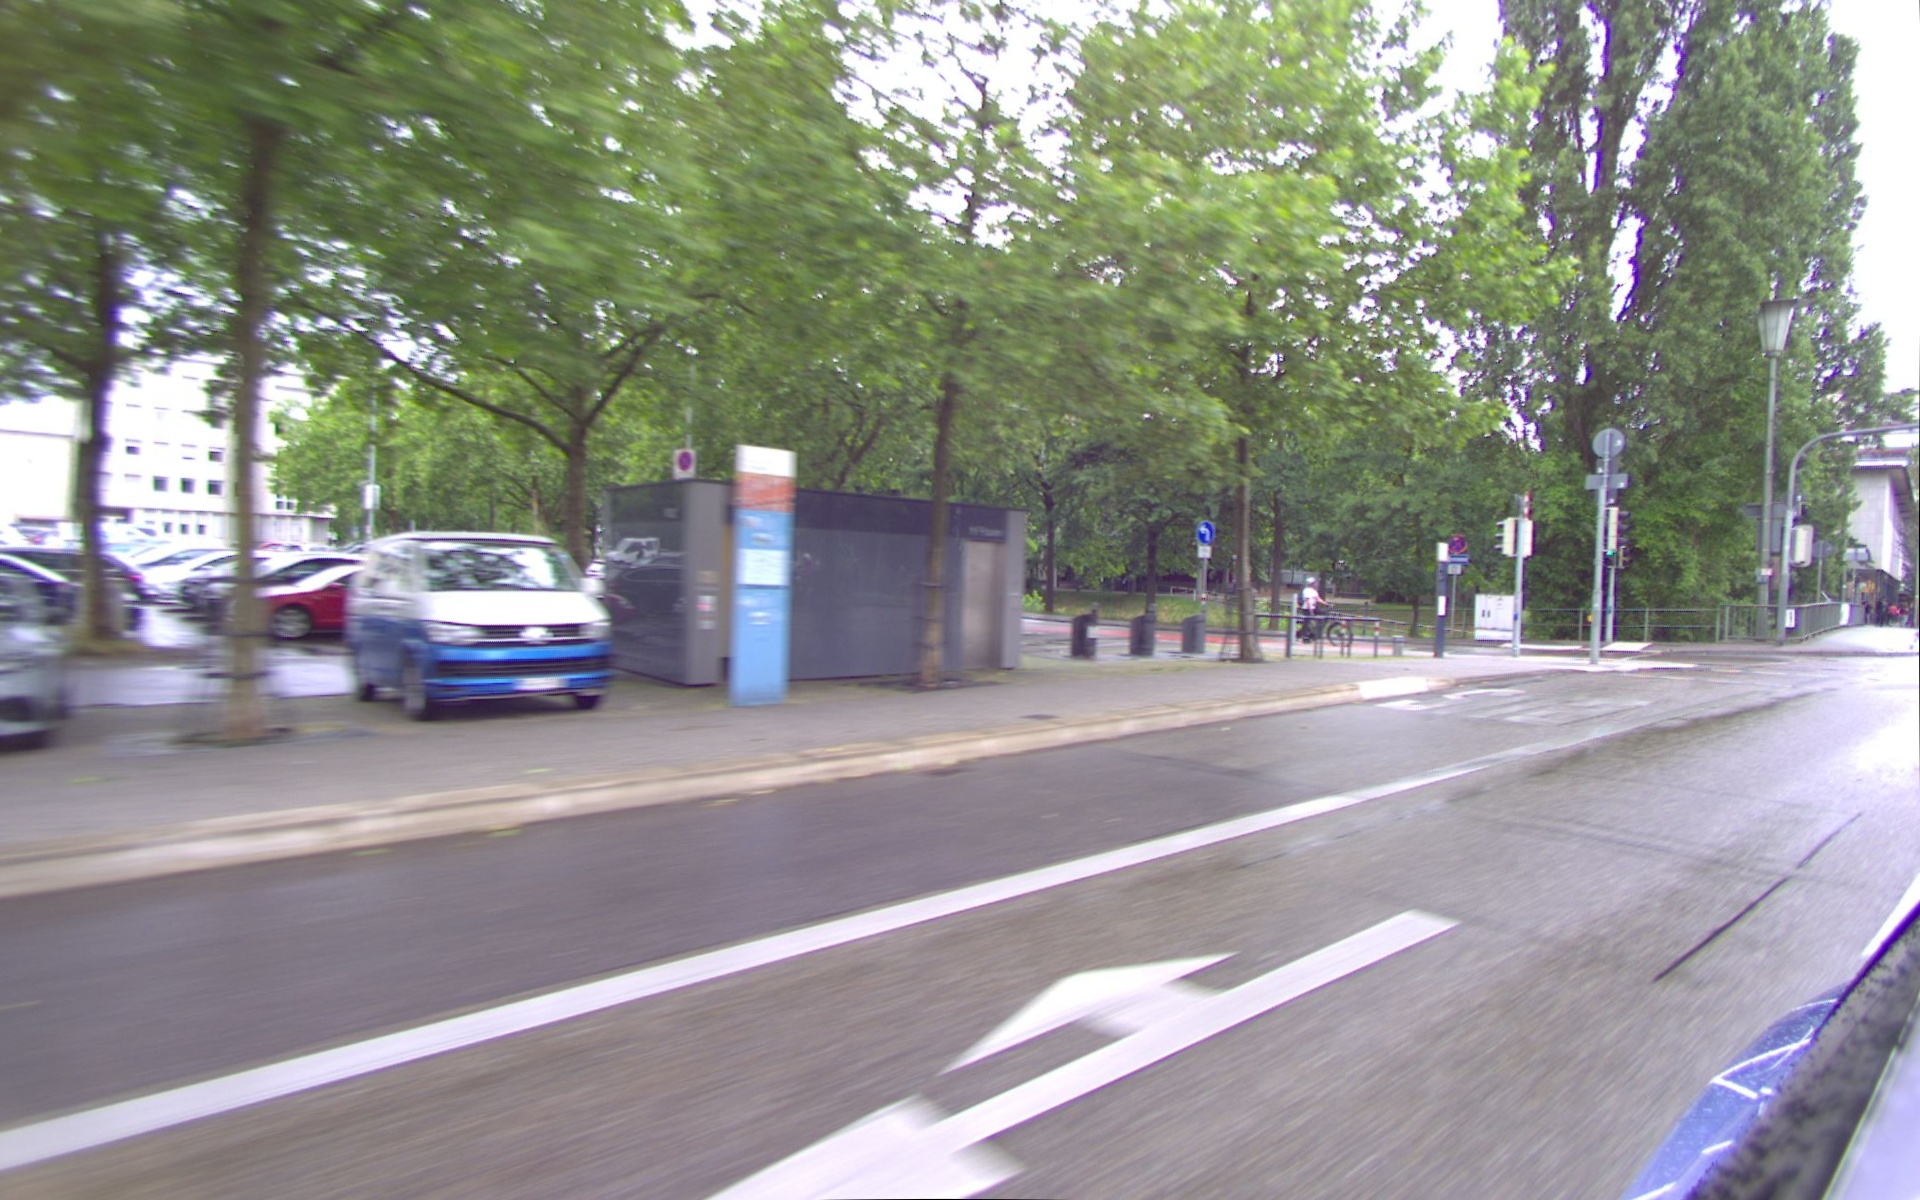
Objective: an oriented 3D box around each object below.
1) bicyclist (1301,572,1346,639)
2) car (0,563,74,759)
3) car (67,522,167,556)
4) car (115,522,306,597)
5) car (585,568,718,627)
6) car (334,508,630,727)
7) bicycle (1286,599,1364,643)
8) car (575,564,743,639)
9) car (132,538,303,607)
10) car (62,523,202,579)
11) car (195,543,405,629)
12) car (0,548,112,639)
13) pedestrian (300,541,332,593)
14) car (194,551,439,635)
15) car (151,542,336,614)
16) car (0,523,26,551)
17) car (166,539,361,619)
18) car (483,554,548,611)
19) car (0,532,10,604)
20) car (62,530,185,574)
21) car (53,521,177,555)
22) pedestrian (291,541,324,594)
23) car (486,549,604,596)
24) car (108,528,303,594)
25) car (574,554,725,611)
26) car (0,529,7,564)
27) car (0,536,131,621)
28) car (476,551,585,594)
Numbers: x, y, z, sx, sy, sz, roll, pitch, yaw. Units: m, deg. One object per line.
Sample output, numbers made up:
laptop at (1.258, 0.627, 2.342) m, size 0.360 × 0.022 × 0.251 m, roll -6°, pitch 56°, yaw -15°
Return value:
bicyclist at (9.981, 0.137, 27.808) m, size 0.980 × 1.792 × 0.788 m, roll 2°, pitch 2°, yaw 31°
car at (-8.982, 0.441, 8.771) m, size 1.829 × 1.423 × 4.747 m, roll 0°, pitch 0°, yaw -40°
car at (-43.829, -3.125, 52.649) m, size 1.636 × 1.566 × 3.867 m, roll 2°, pitch 1°, yaw 44°
car at (-25.083, -1.317, 34.017) m, size 1.967 × 2.181 × 4.808 m, roll 5°, pitch 2°, yaw 43°
car at (-8.918, -0.064, 29.355) m, size 3.293 × 1.497 × 1.532 m, roll 3°, pitch 2°, yaw -38°
car at (-5.656, 0.169, 11.595) m, size 1.916 × 1.967 × 4.844 m, roll 1°, pitch -1°, yaw -40°
bicycle at (10.014, 0.562, 27.793) m, size 1.918 × 1.108 × 0.643 m, roll 3°, pitch 2°, yaw 31°
car at (-6.890, 0.049, 23.277) m, size 3.293 × 1.497 × 1.532 m, roll 3°, pitch 2°, yaw -38°
car at (-20.147, -0.721, 27.543) m, size 3.550 × 1.612 × 1.530 m, roll 3°, pitch 2°, yaw -44°
car at (-28.121, -1.638, 34.428) m, size 3.550 × 1.612 × 1.530 m, roll 3°, pitch 2°, yaw -44°
car at (-14.224, -0.278, 21.901) m, size 3.549 × 1.612 × 1.570 m, roll 3°, pitch 2°, yaw -43°
car at (-16.010, -0.140, 16.425) m, size 1.636 × 1.439 × 3.302 m, roll 3°, pitch 2°, yaw 44°
pedestrian at (-20.807, -1.072, 32.696) m, size 0.727 × 1.612 × 0.575 m, roll 3°, pitch 1°, yaw -43°
car at (-12.656, -0.095, 20.078) m, size 1.527 × 1.445 × 3.779 m, roll 5°, pitch 2°, yaw 41°
car at (-17.979, -0.522, 25.488) m, size 3.572 × 1.577 × 1.529 m, roll 3°, pitch 2°, yaw -44°
car at (-45.843, -3.024, 47.157) m, size 3.295 × 1.251 × 1.531 m, roll 3°, pitch 2°, yaw -40°
car at (-16.042, -0.462, 23.392) m, size 3.545 × 1.612 × 1.531 m, roll 3°, pitch 2°, yaw -40°
car at (-13.749, -0.577, 31.413) m, size 1.717 × 1.601 × 4.009 m, roll 1°, pitch 2°, yaw -23°
car at (-22.396, -0.781, 21.199) m, size 3.572 × 1.523 × 1.529 m, roll 3°, pitch 2°, yaw -44°
car at (-32.088, -1.827, 38.873) m, size 3.539 × 1.536 × 1.636 m, roll 0°, pitch 1°, yaw -44°
car at (-40.479, -2.940, 48.542) m, size 1.636 × 1.441 × 4.437 m, roll 2°, pitch 1°, yaw 44°
pedestrian at (-20.496, -1.021, 31.797) m, size 0.727 × 1.612 × 0.575 m, roll 3°, pitch 1°, yaw -43°
car at (-15.917, -1.024, 38.938) m, size 3.817 × 1.709 × 1.778 m, roll 0°, pitch 1°, yaw -44°
car at (-23.436, -1.187, 31.560) m, size 1.967 × 1.690 × 4.558 m, roll 5°, pitch 2°, yaw 43°
car at (-10.025, -0.557, 32.911) m, size 4.371 × 1.709 × 1.778 m, roll 0°, pitch 1°, yaw -44°
car at (-36.631, -2.048, 36.339) m, size 1.525 × 1.251 × 3.309 m, roll 5°, pitch 2°, yaw 38°
car at (-19.377, -0.487, 20.467) m, size 3.980 × 1.584 × 1.617 m, roll 3°, pitch 2°, yaw -40°
car at (-17.869, -1.129, 42.173) m, size 3.817 × 1.709 × 1.778 m, roll 0°, pitch 1°, yaw -44°
